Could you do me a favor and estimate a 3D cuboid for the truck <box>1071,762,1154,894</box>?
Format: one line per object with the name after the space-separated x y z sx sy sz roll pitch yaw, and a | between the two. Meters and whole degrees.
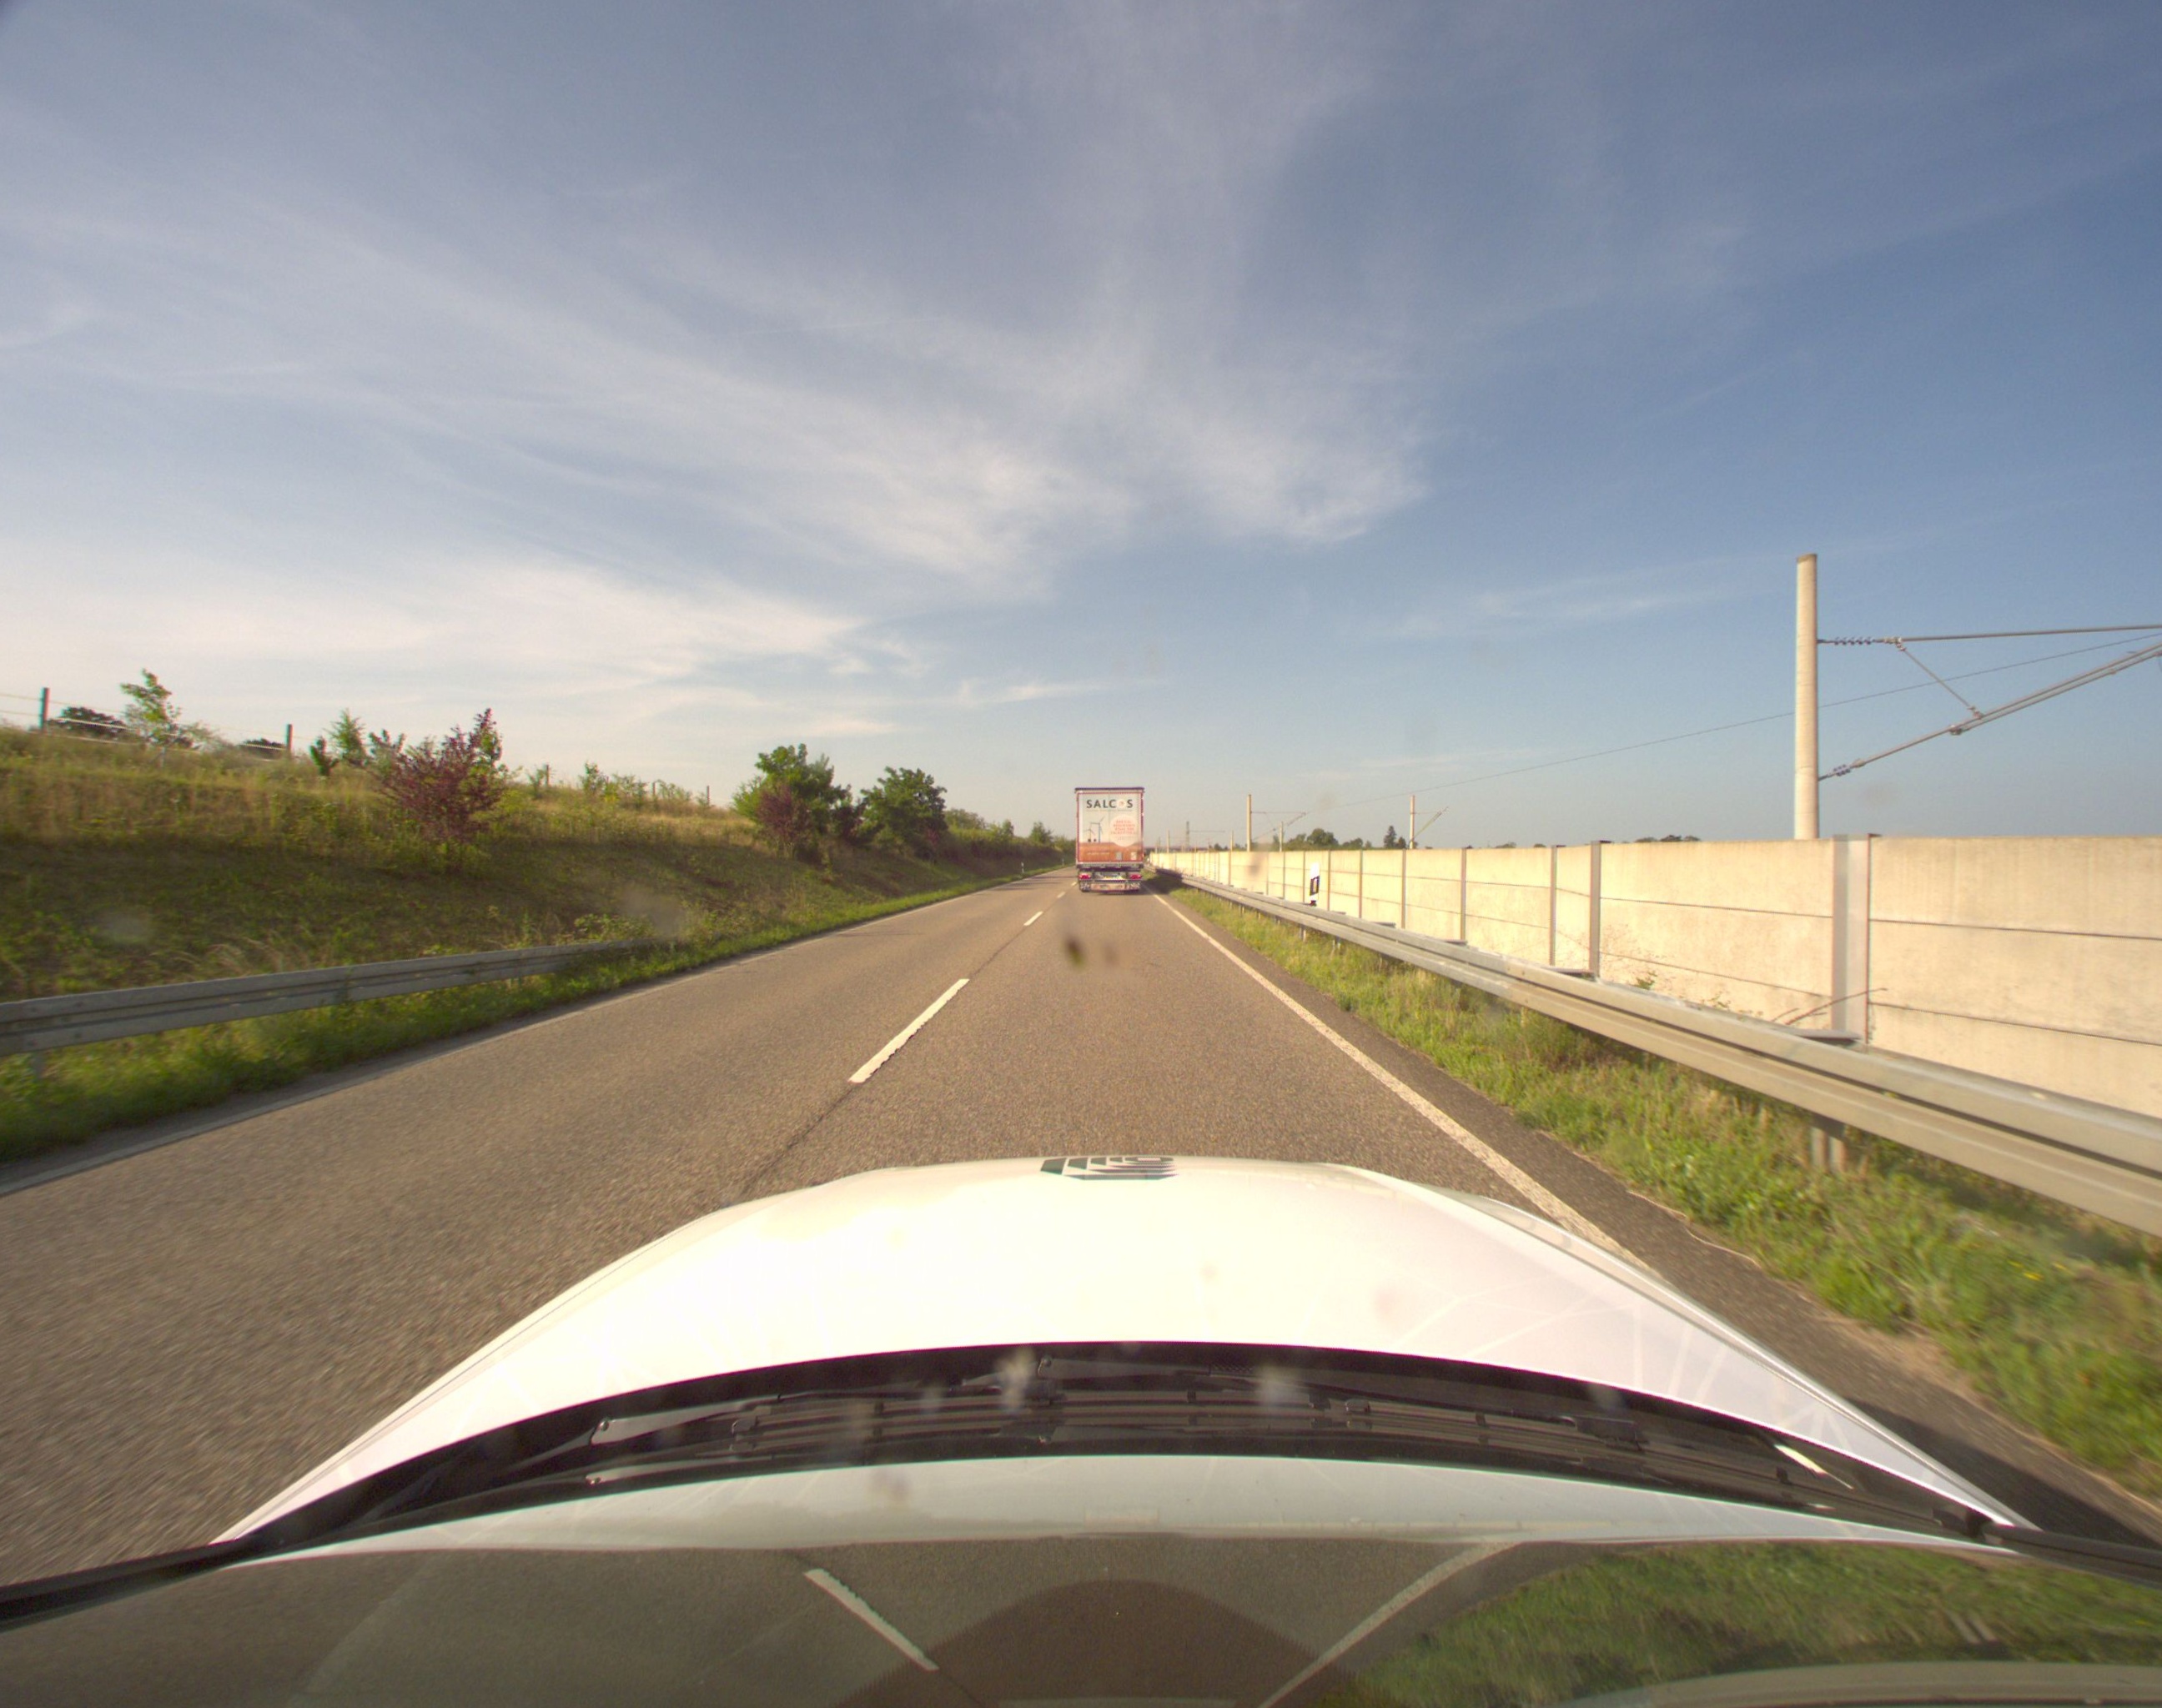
1.318 -1.001 36.497 3.022 4.920 11.687 -1 0 1 | truck
